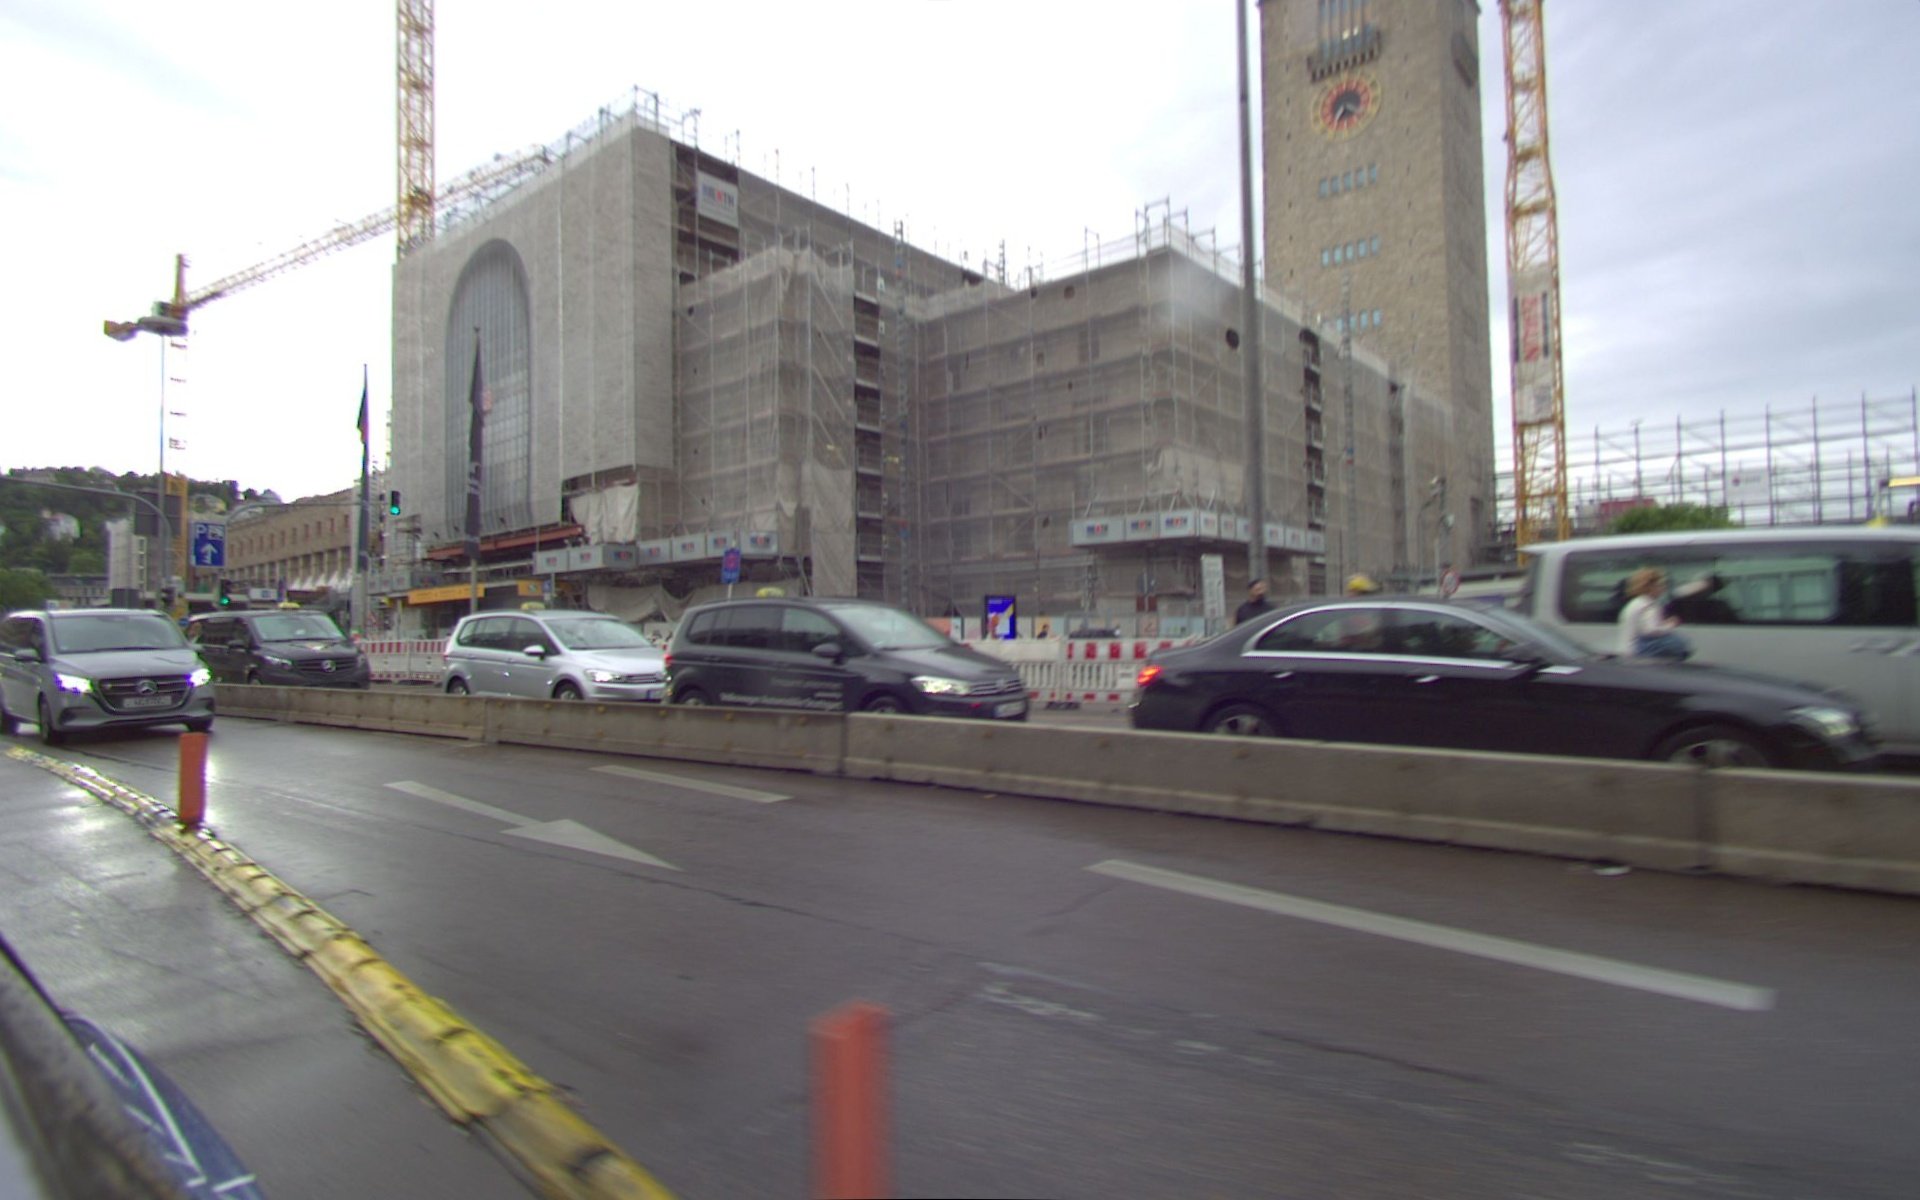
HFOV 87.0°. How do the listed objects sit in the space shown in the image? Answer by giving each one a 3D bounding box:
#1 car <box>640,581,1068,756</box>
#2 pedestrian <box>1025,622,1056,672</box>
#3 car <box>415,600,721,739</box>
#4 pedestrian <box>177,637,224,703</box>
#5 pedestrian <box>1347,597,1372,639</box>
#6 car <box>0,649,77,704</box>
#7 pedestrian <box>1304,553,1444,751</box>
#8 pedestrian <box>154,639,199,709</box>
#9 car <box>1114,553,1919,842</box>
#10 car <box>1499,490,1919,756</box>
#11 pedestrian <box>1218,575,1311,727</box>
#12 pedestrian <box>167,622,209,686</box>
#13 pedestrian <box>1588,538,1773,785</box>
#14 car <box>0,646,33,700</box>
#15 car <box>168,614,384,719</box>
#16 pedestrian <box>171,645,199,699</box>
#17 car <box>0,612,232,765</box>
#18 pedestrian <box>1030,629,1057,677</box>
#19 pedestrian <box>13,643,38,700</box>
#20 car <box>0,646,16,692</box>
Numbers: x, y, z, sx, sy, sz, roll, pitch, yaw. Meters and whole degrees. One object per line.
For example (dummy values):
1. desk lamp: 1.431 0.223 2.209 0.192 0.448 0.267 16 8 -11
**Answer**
1. car: -1.259 0.690 10.862 4.481 1.522 1.808 -3 -2 36
2. pedestrian: 3.129 1.831 39.194 0.832 1.896 1.018 -2 -3 29
3. car: -5.762 0.962 14.615 4.763 1.709 1.808 -3 -2 36
4. pedestrian: -22.463 2.068 29.962 0.990 1.901 0.819 0 -3 -28
5. pedestrian: 18.363 0.839 46.523 0.648 1.896 0.807 0 -3 -21
6. car: -31.301 2.547 33.972 4.662 1.698 1.768 -4 -3 40
7. pedestrian: 3.810 0.468 9.304 0.836 1.688 1.014 -4 -3 41
8. pedestrian: -21.858 2.062 28.217 1.027 1.896 0.825 -4 -3 41
9. car: 3.838 0.606 7.418 4.994 1.522 1.955 -3 -2 35
10. car: 7.751 0.179 8.602 5.356 2.029 1.977 -3 -2 35
11. pedestrian: 3.698 0.610 12.291 0.822 1.766 0.628 -3 -2 42
12. pedestrian: -23.439 1.631 30.729 0.688 1.901 0.824 -3 -3 29
13. pedestrian: 5.702 0.477 8.019 1.027 1.797 0.825 -4 -3 41
14. car: -35.992 2.740 37.554 4.605 1.906 1.696 -4 -3 39
15. car: -13.842 1.306 20.374 5.051 1.859 1.976 -3 -2 36
16. pedestrian: -25.481 2.354 33.265 0.755 1.748 0.577 -4 -3 39
17. car: -13.121 1.275 15.363 5.243 1.919 1.974 -4 -2 38
18. pedestrian: 3.323 2.112 40.256 0.829 1.896 1.022 -1 -3 18
19. pedestrian: -33.775 2.589 36.563 0.889 2.029 0.522 -4 -3 37
20. car: -40.347 2.857 41.300 4.841 1.800 1.974 -4 -3 39
